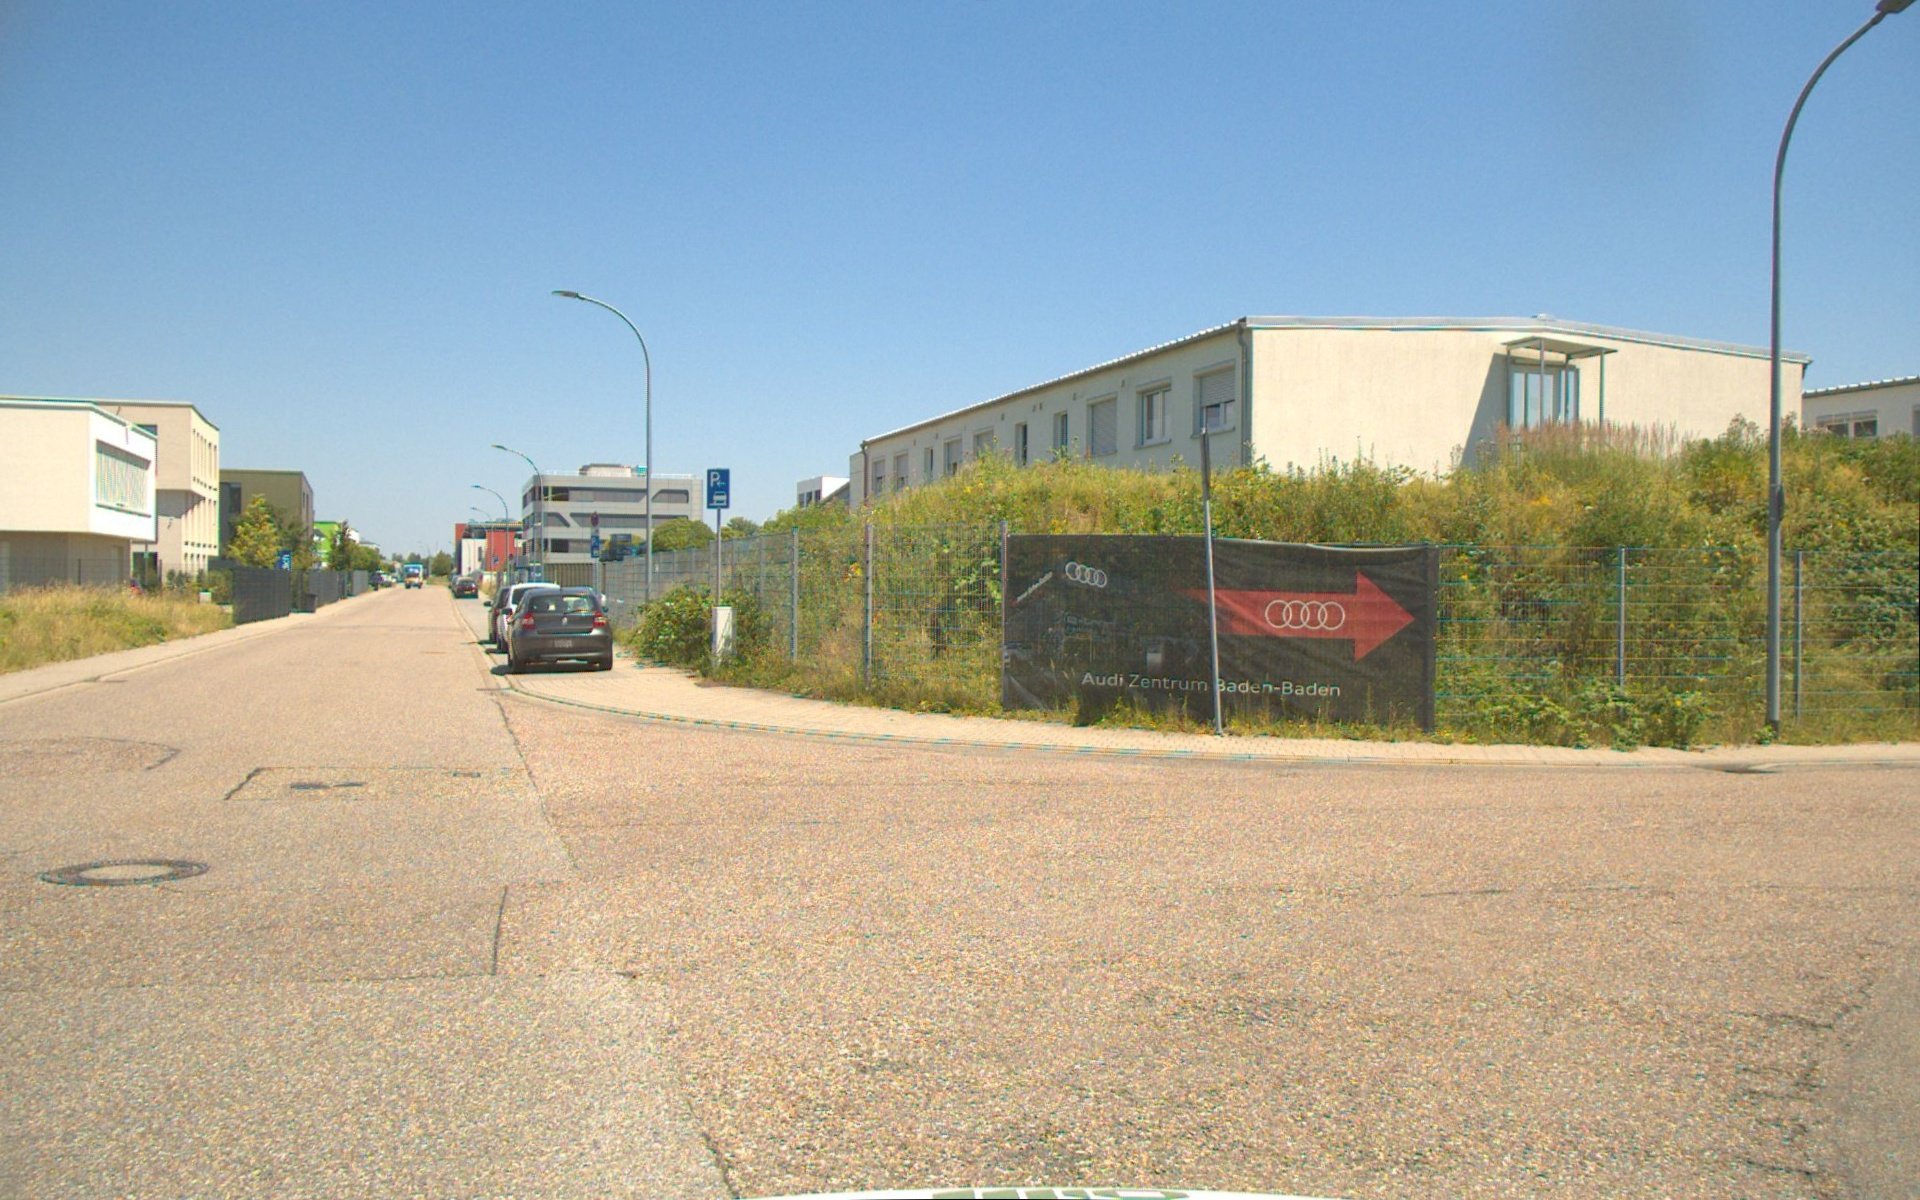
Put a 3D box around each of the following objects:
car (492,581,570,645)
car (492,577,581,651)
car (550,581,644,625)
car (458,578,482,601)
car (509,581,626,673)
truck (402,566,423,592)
[{"bbox_3d":[-11.419,0.299,44.010,1.876,1.573,3.984,-2,1,-15],"label":"car"},{"bbox_3d":[-9.886,0.285,38.584,1.876,1.573,3.984,-2,1,-15],"label":"car"},{"bbox_3d":[-18.494,0.140,84.250,4.548,2.049,2.597,2,0,-15],"label":"car"},{"bbox_3d":[-39.969,-0.872,134.799,1.748,1.758,3.981,2,0,-17],"label":"car"},{"bbox_3d":[-7.080,0.420,29.665,1.876,1.473,3.984,-2,1,-15],"label":"car"},{"bbox_3d":[-77.725,-3.011,234.688,2.561,3.606,10.441,-1,1,-20],"label":"truck"}]
